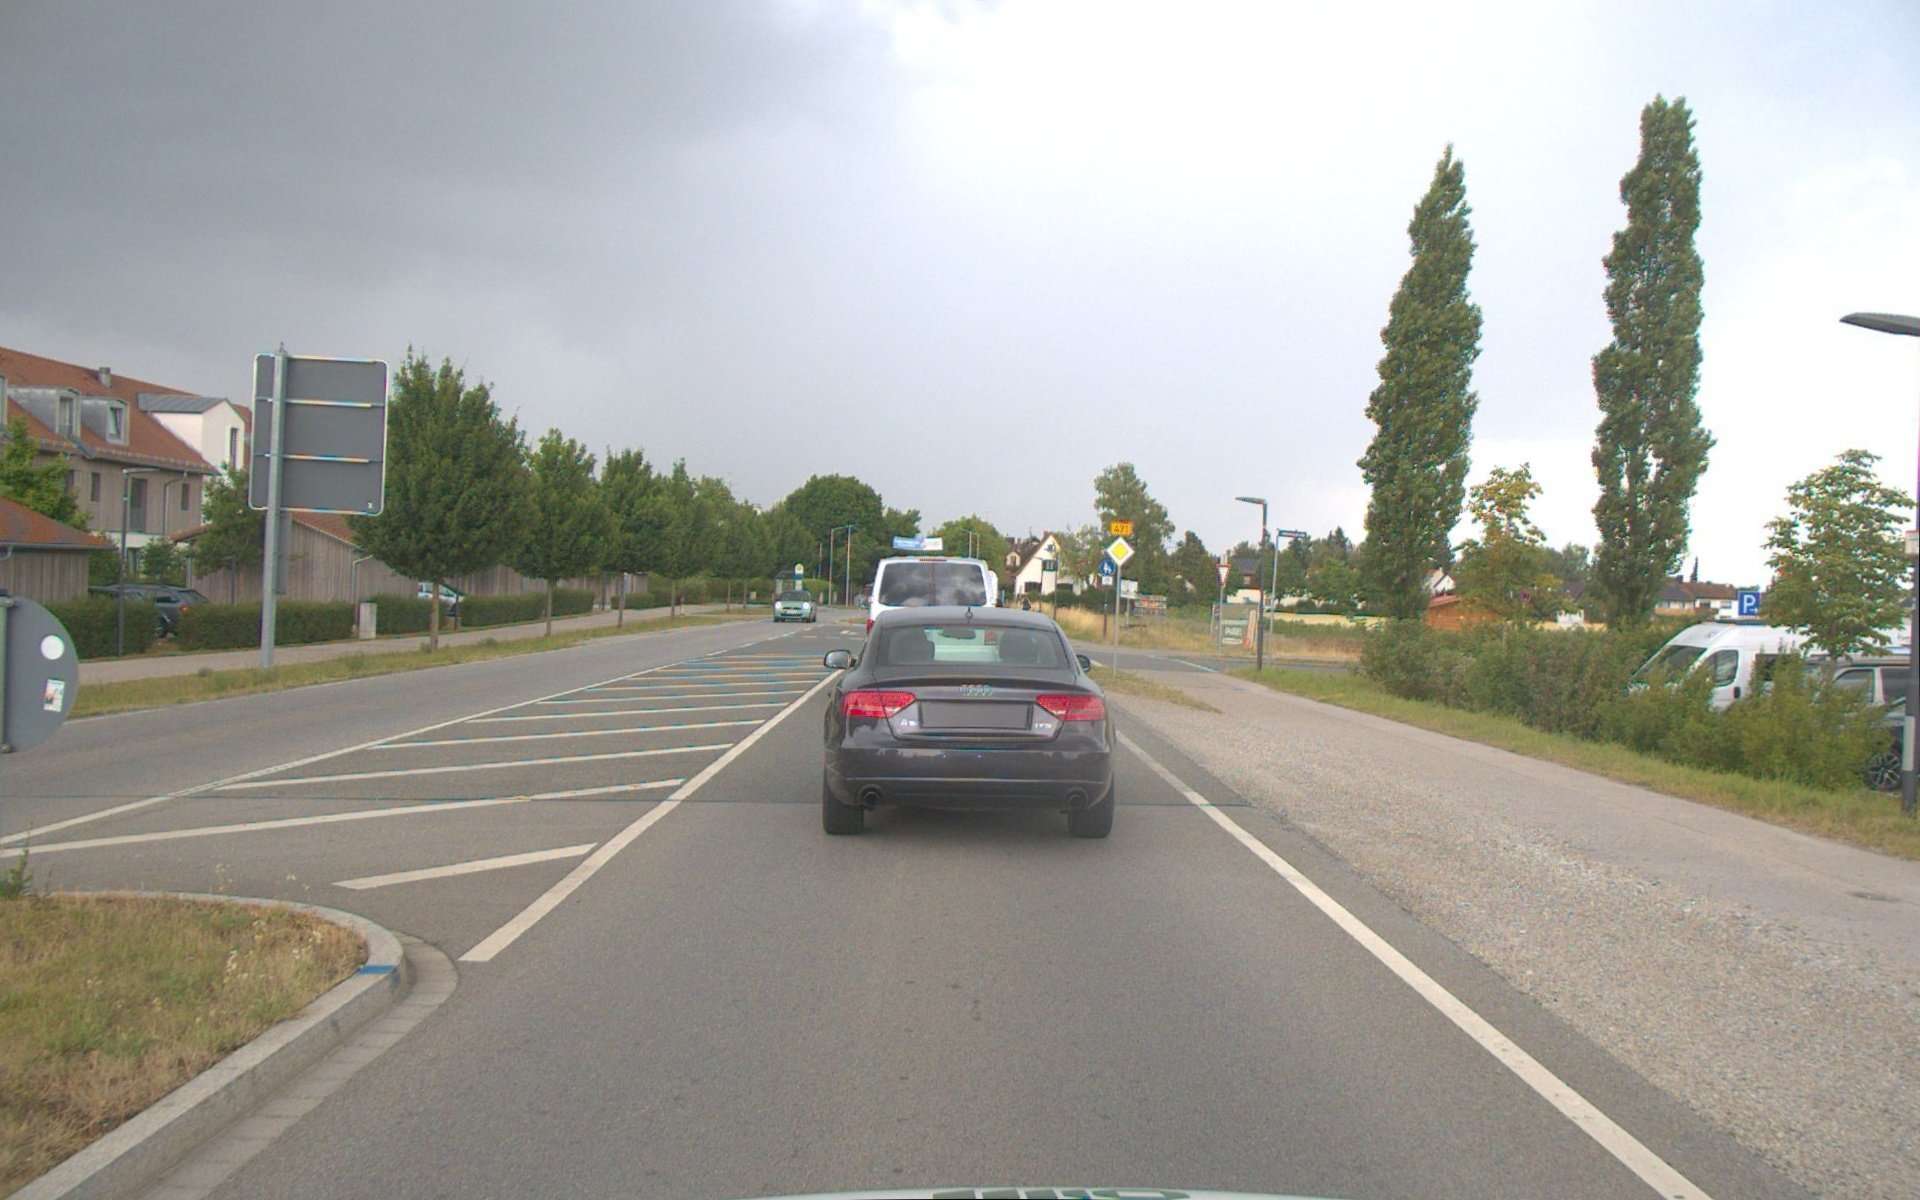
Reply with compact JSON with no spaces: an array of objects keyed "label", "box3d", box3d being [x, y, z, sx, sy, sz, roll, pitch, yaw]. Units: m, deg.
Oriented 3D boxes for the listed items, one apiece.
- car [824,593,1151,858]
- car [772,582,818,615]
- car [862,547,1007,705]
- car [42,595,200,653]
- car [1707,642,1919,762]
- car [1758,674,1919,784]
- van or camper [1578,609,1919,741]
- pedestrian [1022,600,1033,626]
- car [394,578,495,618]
[{"label":"car","box3d":[-0.017,0.678,11.325,1.790,1.413,4.383,0,1,-5]},{"label":"car","box3d":[-7.552,-0.081,76.105,1.734,1.469,4.000,0,1,-1]},{"label":"car","box3d":[-0.402,0.317,23.474,1.789,1.946,3.998,3,0,-2]},{"label":"car","box3d":[-22.681,0.642,44.780,3.443,1.515,1.563,0,0,-1]},{"label":"car","box3d":[16.429,1.849,30.427,4.501,2.049,1.999,0,0,-3]},{"label":"car","box3d":[15.973,2.093,27.109,4.993,1.626,1.757,0,0,-3]},{"label":"van or camper","box3d":[16.077,1.483,33.459,6.337,2.507,2.280,0,0,-3]},{"label":"pedestrian","box3d":[4.026,0.753,99.014,0.611,1.551,0.679,0,0,-1]},{"label":"car","box3d":[-23.562,-0.106,75.638,3.905,1.583,2.000,3,1,0]}]
